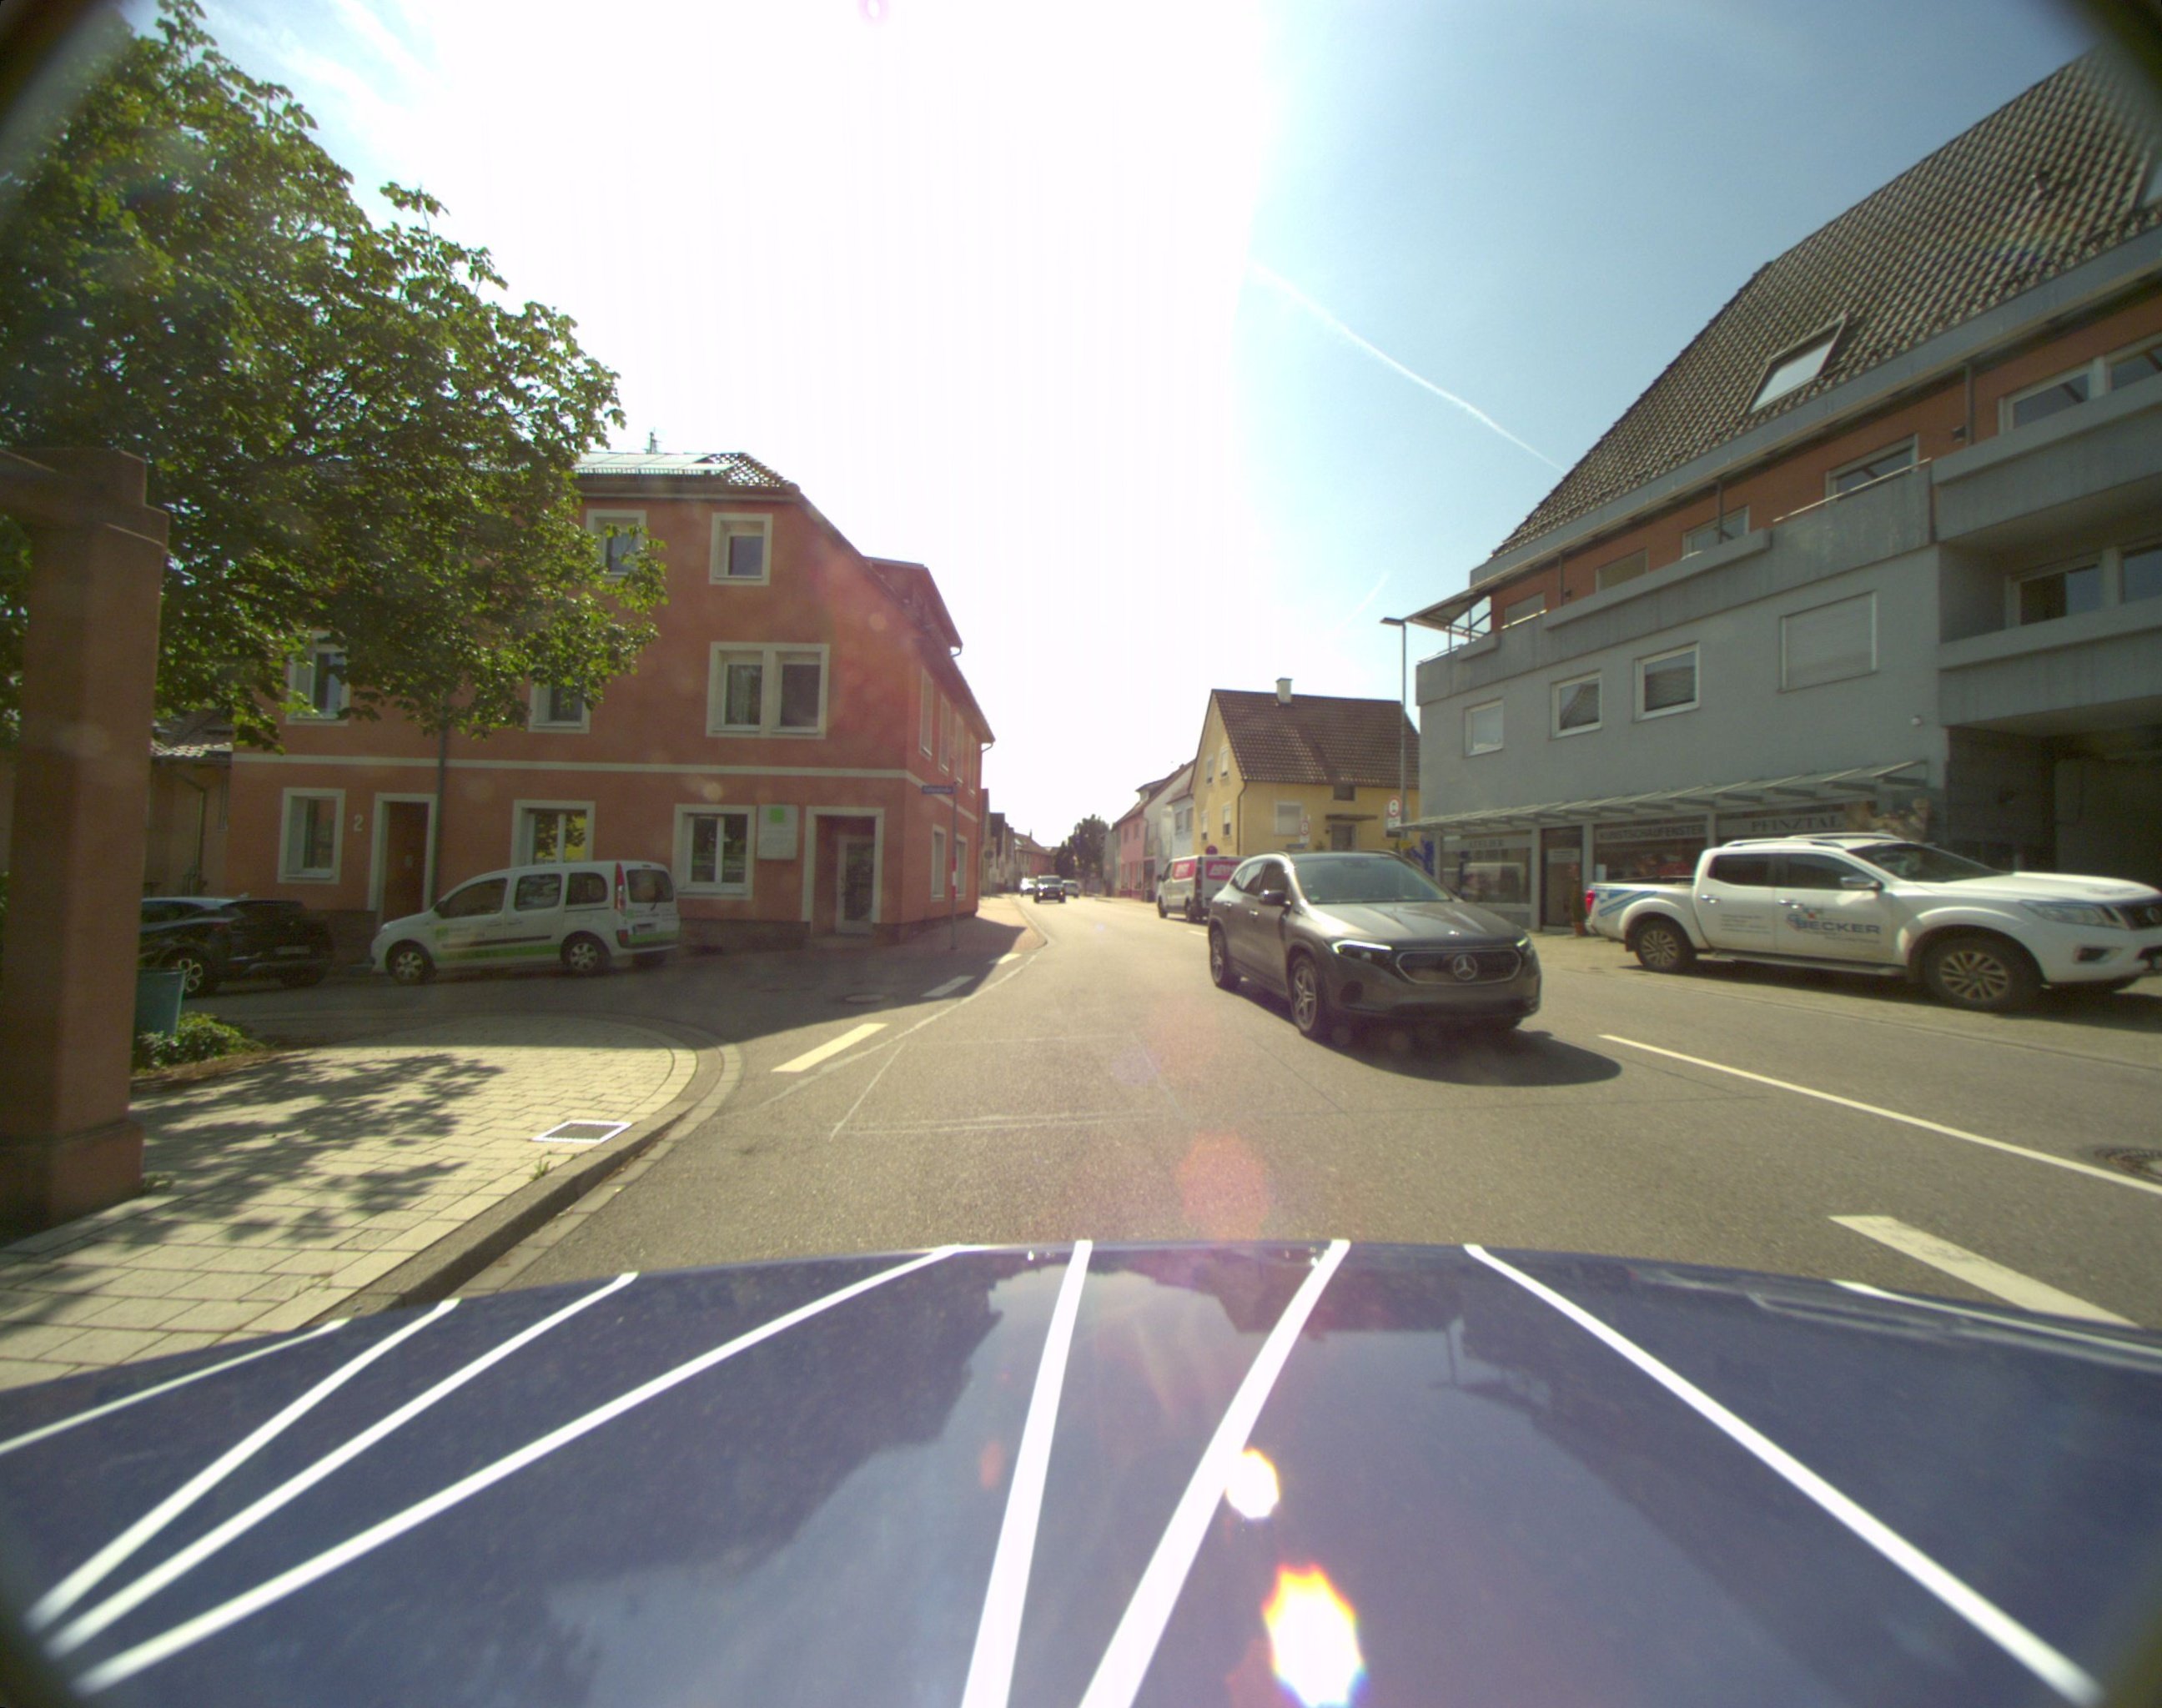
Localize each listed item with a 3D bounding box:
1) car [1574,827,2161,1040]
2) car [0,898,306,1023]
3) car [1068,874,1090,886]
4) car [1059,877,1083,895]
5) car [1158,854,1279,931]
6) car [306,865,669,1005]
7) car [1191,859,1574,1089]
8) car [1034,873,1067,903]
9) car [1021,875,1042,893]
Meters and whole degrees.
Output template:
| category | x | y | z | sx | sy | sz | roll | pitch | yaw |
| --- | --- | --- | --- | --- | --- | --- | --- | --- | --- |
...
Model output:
| category | x | y | z | sx | sy | sz | roll | pitch | yaw |
| --- | --- | --- | --- | --- | --- | --- | --- | --- | --- |
| car | 9.197 | 0.756 | 9.420 | 1.811 | 1.787 | 5.281 | -4 | -1 | -14 |
| car | -14.200 | 1.557 | 11.382 | 3.499 | 1.516 | 1.577 | -4 | 0 | 1 |
| car | -0.285 | 4.187 | 124.202 | 1.945 | 1.841 | 4.517 | -1 | -1 | 24 |
| car | -0.873 | 2.797 | 66.583 | 1.734 | 1.532 | 3.811 | 2 | -2 | -5 |
| car | 3.833 | 1.061 | 22.272 | 1.975 | 1.921 | 5.311 | 2 | -1 | -7 |
| car | -8.873 | 1.159 | 11.614 | 4.096 | 1.743 | 1.813 | -3 | 0 | 2 |
| car | 2.443 | 0.899 | 7.466 | 1.738 | 1.563 | 4.289 | -1 | -2 | -5 |
| car | -1.886 | 2.013 | 46.177 | 1.793 | 1.642 | 4.391 | 1 | 0 | -5 |
| car | -4.483 | 2.665 | 68.407 | 1.781 | 1.533 | 4.097 | 0 | 0 | -6 |
